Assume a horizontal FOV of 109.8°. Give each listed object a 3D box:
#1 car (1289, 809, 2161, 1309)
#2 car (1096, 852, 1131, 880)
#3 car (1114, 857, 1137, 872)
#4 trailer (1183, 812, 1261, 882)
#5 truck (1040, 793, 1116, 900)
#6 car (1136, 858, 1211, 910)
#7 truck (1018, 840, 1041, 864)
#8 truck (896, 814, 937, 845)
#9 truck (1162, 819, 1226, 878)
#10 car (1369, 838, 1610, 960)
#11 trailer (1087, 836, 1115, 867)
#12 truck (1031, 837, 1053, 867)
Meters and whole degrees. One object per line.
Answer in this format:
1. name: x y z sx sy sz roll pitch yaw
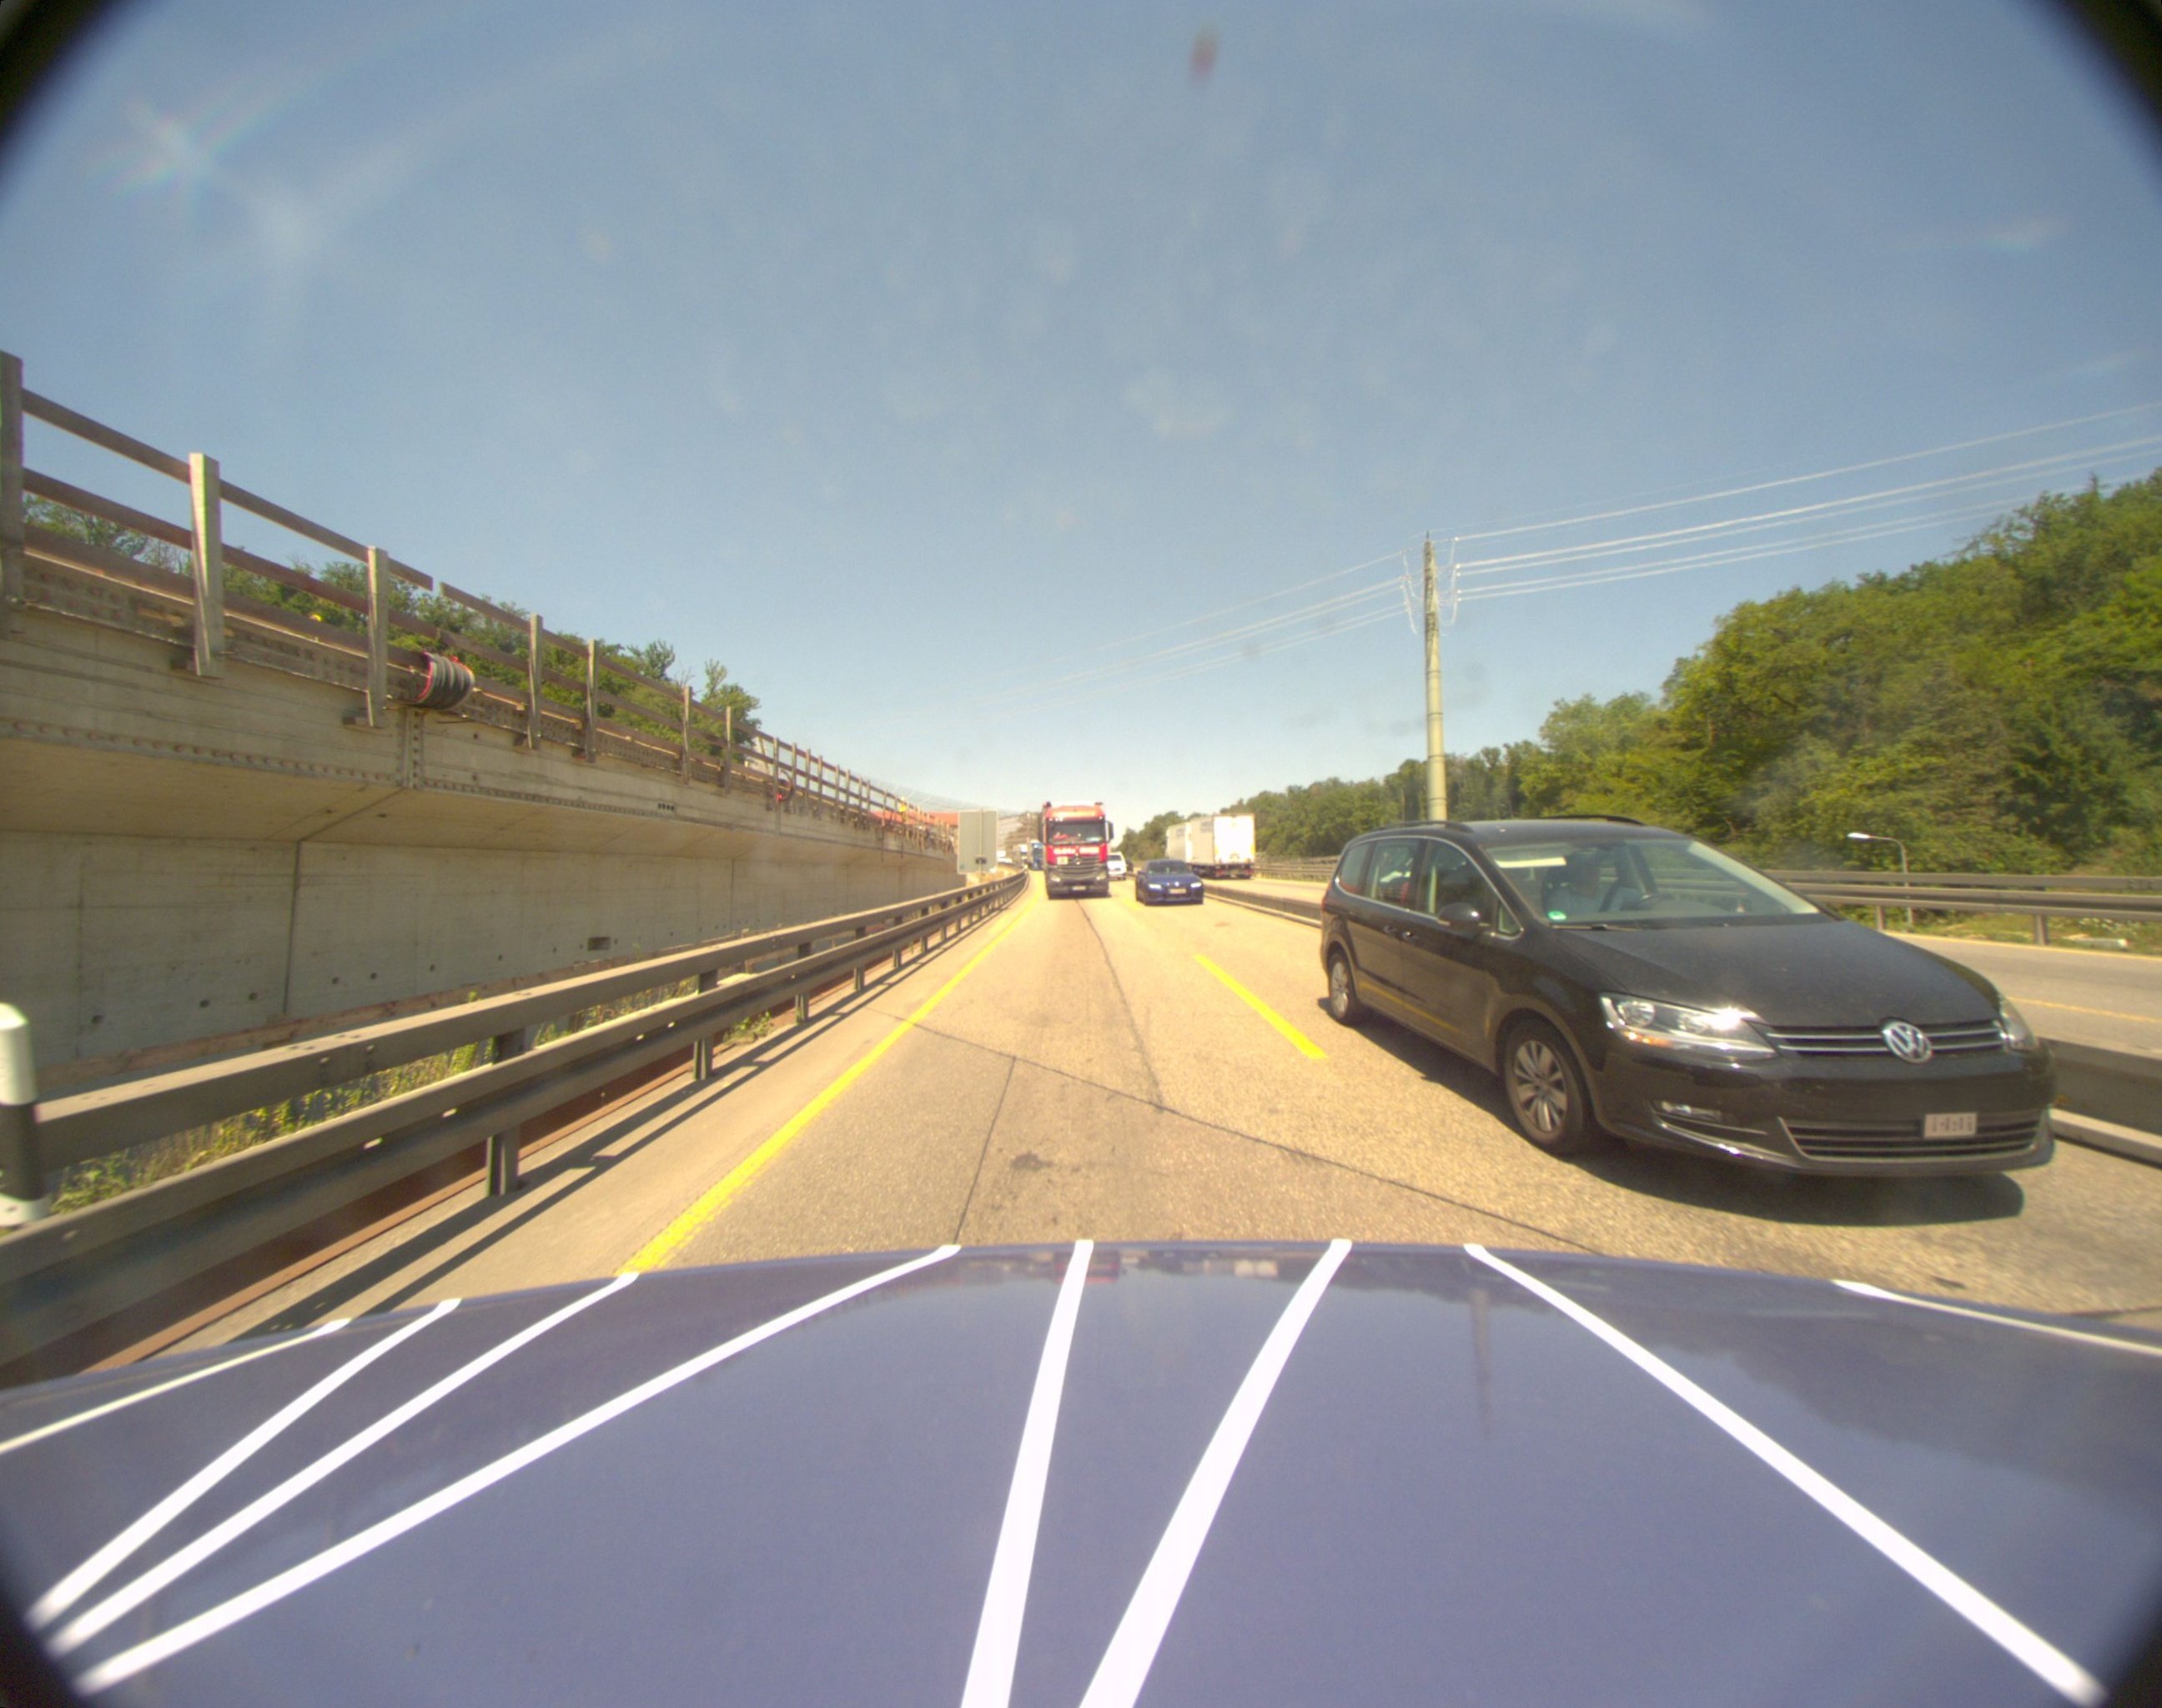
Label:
1. car: 3.096 0.733 5.284 1.861 1.695 5.304 -1 0 1
2. car: 2.215 0.823 53.482 1.947 1.858 5.222 -1 0 -3
3. car: 4.404 1.033 76.347 1.787 1.470 4.619 -2 0 -3
4. trailer: 9.139 -0.423 50.333 3.012 4.141 9.014 -2 0 -3
5. truck: -0.282 -0.361 34.252 2.799 3.986 10.426 -2 1 -2
6. car: 2.977 0.929 25.526 1.896 1.546 4.786 -1 0 0
7. truck: -9.791 -0.450 143.756 2.912 4.208 9.230 -2 1 -12
8. truck: -21.488 -3.103 99.426 2.714 3.671 5.720 -1 -2 17
9. truck: 8.740 -0.354 60.114 2.986 4.137 10.543 -2 0 -2
10. car: 6.587 0.604 12.899 1.754 1.677 4.386 -2 1 1
11. trailer: 3.173 -0.375 124.624 2.842 4.614 14.575 -2 0 -5
12. truck: -5.531 -0.219 105.813 2.672 3.985 10.425 -2 0 -5
